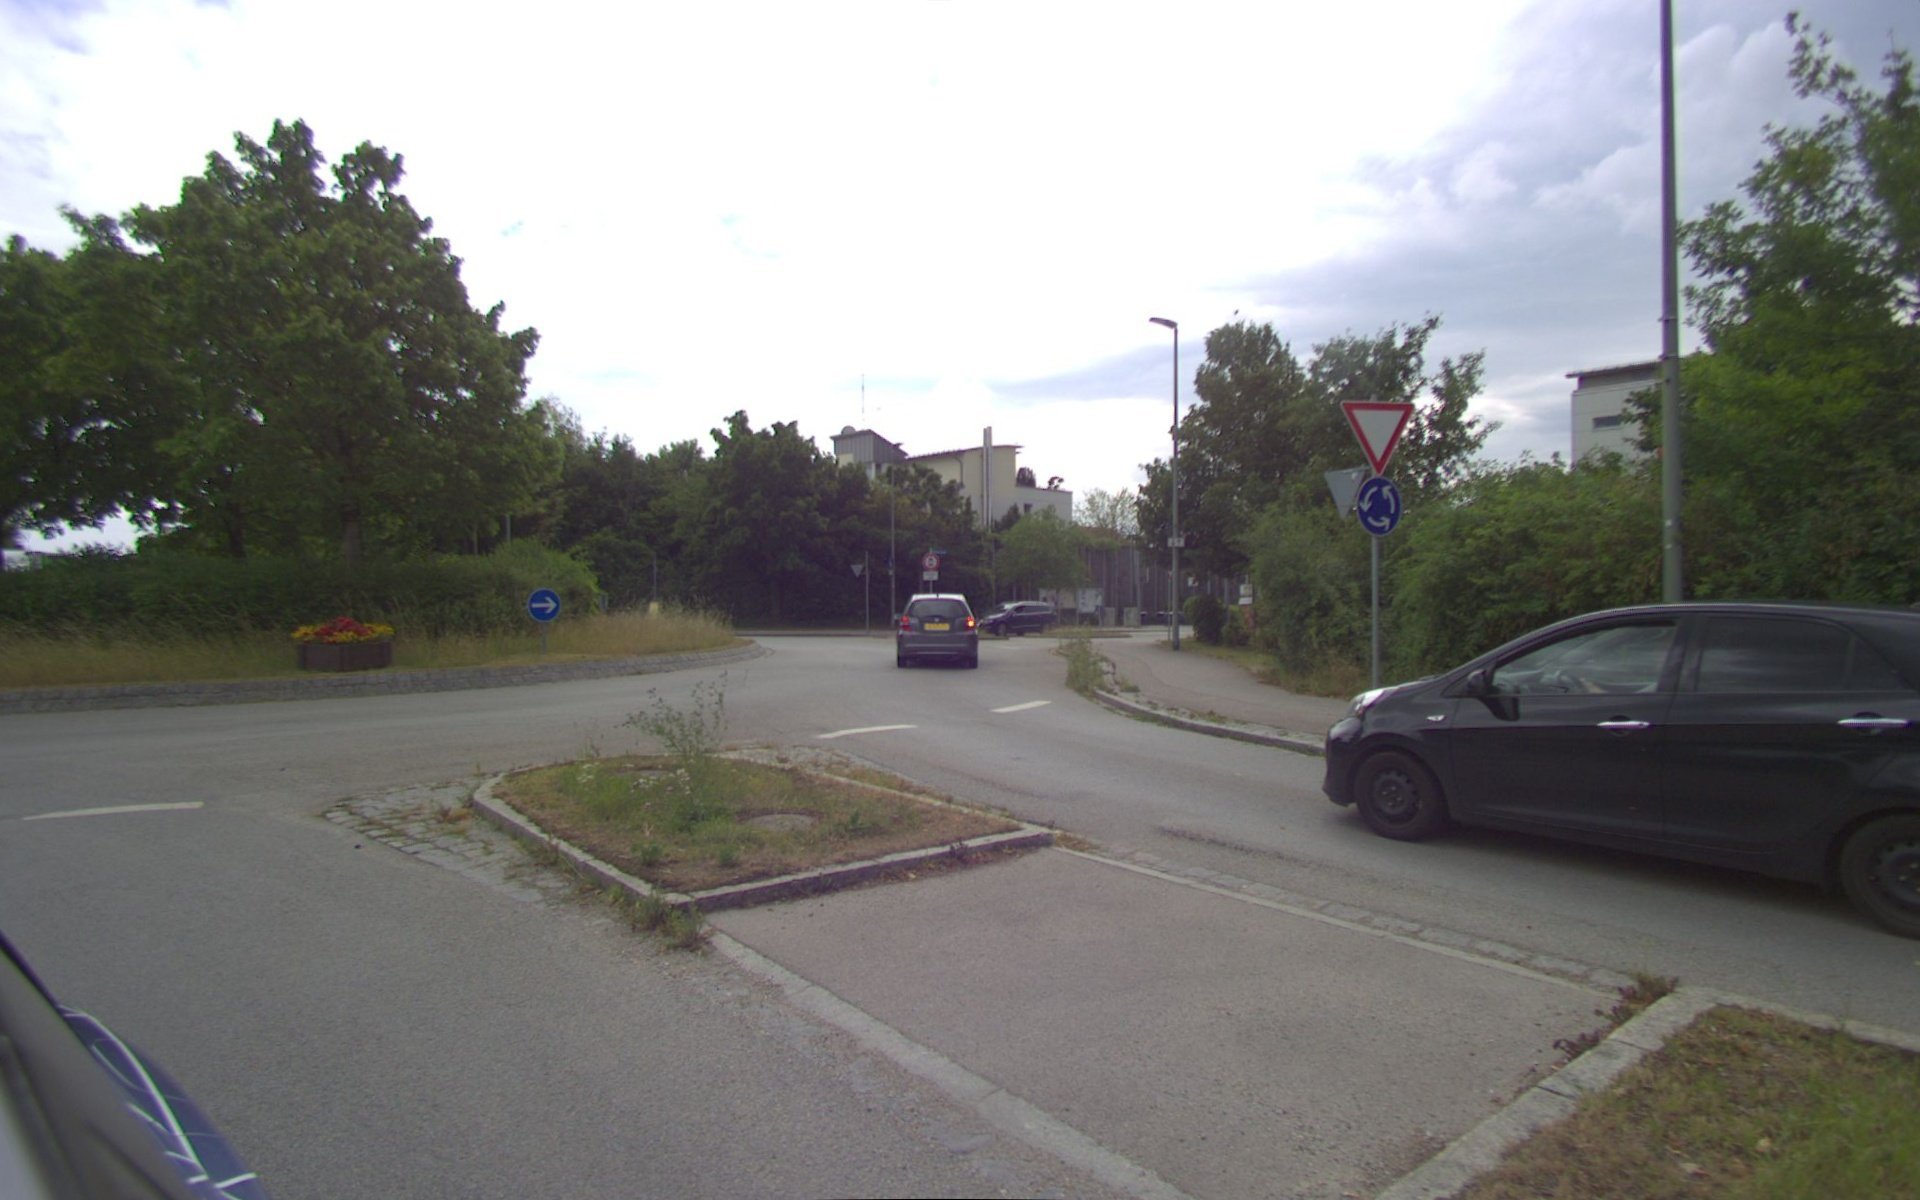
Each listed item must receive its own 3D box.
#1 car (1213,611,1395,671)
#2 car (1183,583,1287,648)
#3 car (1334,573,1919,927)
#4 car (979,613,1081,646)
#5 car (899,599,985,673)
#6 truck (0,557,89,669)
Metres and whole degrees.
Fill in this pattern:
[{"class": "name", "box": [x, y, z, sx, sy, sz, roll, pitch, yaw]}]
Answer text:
[{"class": "car", "box": [8.094, 0.924, 23.816, 3.930, 1.281, 1.748, 0, -1, -25]}, {"class": "car", "box": [8.383, 0.473, 31.187, 2.101, 1.846, 3.999, -1, -1, 1]}, {"class": "car", "box": [4.221, 0.662, 5.291, 1.660, 1.465, 4.009, 2, -3, -36]}, {"class": "car", "box": [3.106, 1.267, 44.470, 4.753, 1.300, 1.560, 0, -1, -41]}, {"class": "car", "box": [-0.450, 0.743, 21.660, 1.662, 1.434, 4.002, 0, -1, -3]}, {"class": "truck", "box": [-32.090, 0.455, 34.345, 2.572, 3.474, 7.529, -1, 0, -31]}]
